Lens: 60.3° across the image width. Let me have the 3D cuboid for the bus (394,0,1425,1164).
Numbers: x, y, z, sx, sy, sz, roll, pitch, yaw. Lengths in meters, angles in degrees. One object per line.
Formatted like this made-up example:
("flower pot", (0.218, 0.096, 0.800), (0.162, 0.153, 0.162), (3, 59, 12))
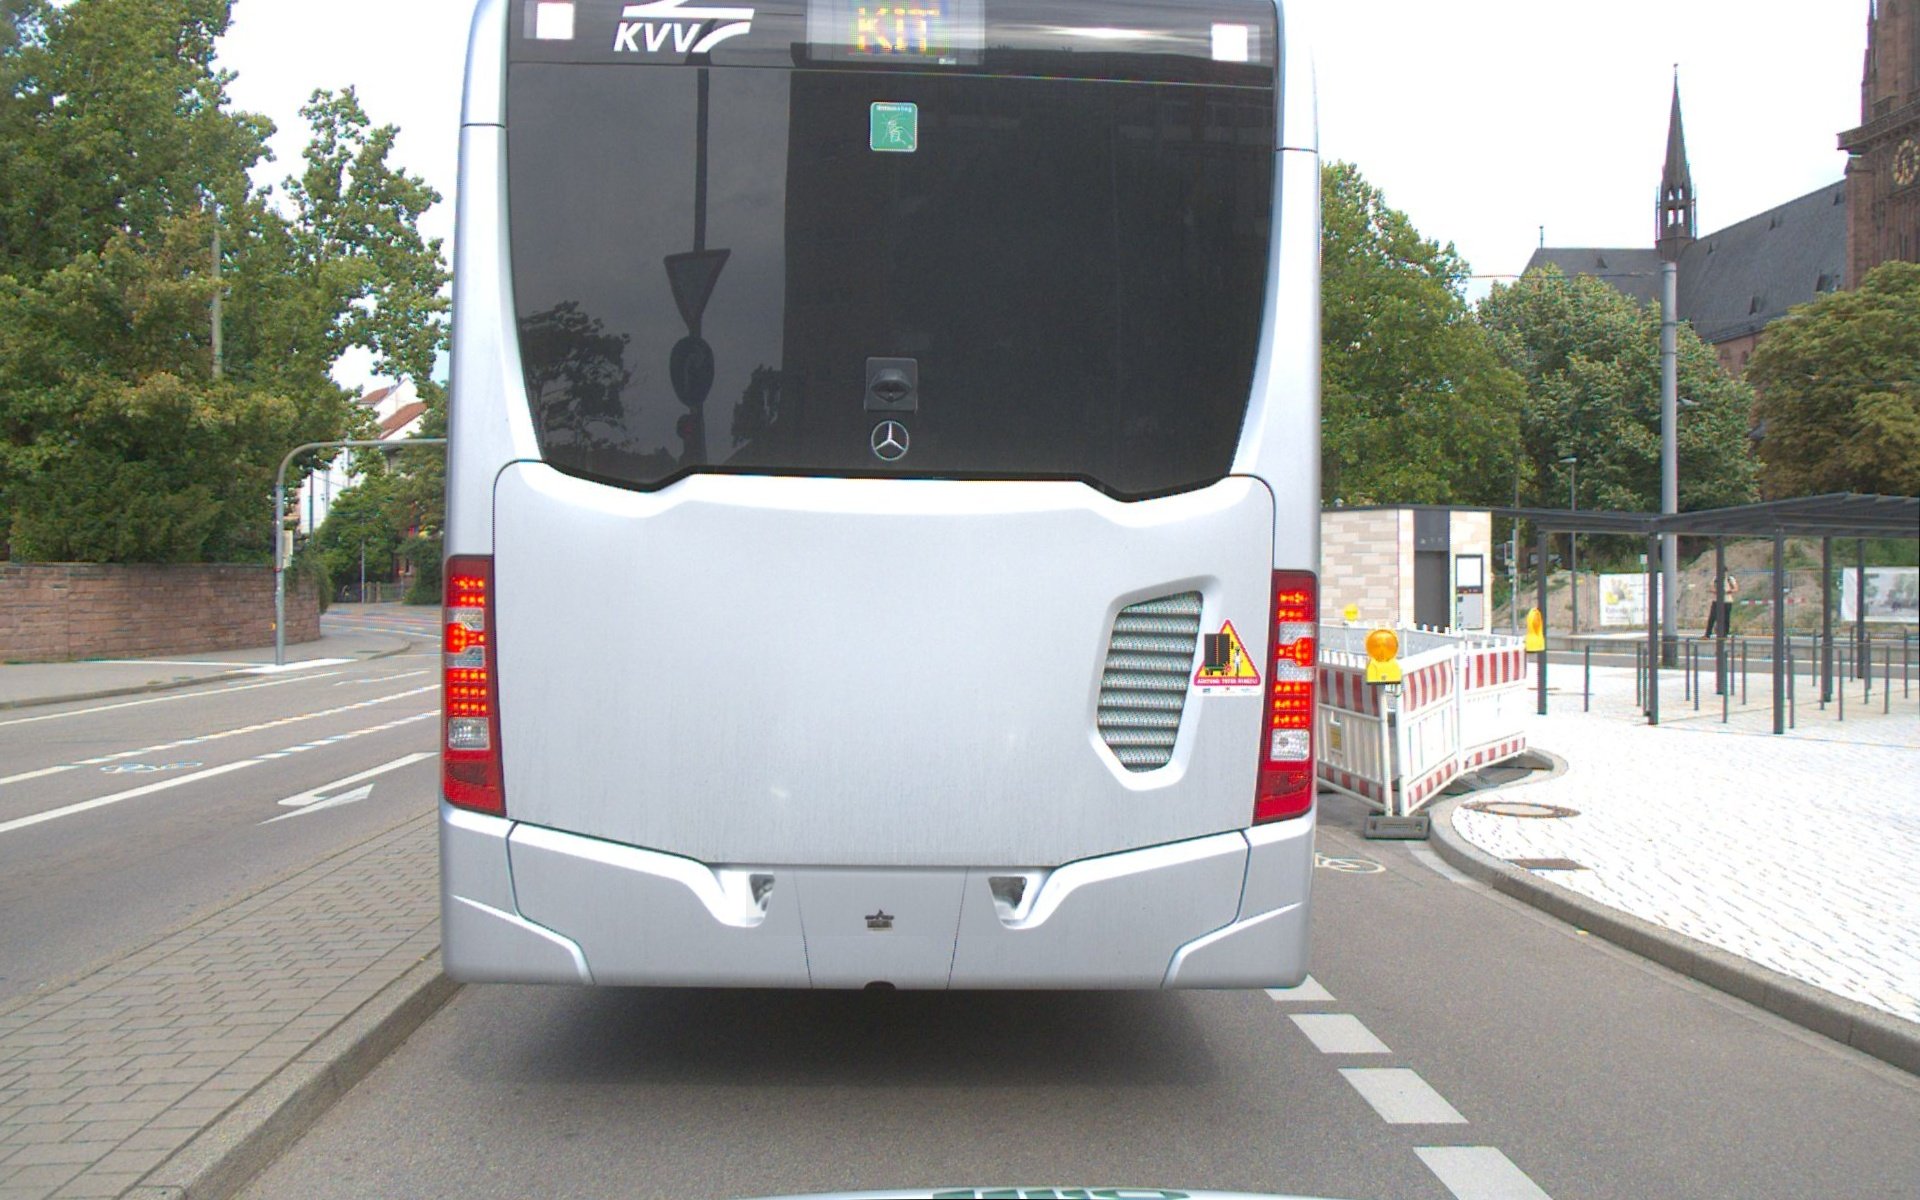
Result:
("bus", (-0.409, -0.307, 11.347), (2.650, 3.498, 14.176), (0, 0, -2))

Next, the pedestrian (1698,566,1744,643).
("pedestrian", (18.490, 0.090, 40.212), (0.803, 1.832, 0.753), (0, 3, 9))

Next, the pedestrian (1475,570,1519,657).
("pedestrian", (10.610, 0.253, 32.689), (0.526, 1.683, 0.621), (-2, 3, -38))
